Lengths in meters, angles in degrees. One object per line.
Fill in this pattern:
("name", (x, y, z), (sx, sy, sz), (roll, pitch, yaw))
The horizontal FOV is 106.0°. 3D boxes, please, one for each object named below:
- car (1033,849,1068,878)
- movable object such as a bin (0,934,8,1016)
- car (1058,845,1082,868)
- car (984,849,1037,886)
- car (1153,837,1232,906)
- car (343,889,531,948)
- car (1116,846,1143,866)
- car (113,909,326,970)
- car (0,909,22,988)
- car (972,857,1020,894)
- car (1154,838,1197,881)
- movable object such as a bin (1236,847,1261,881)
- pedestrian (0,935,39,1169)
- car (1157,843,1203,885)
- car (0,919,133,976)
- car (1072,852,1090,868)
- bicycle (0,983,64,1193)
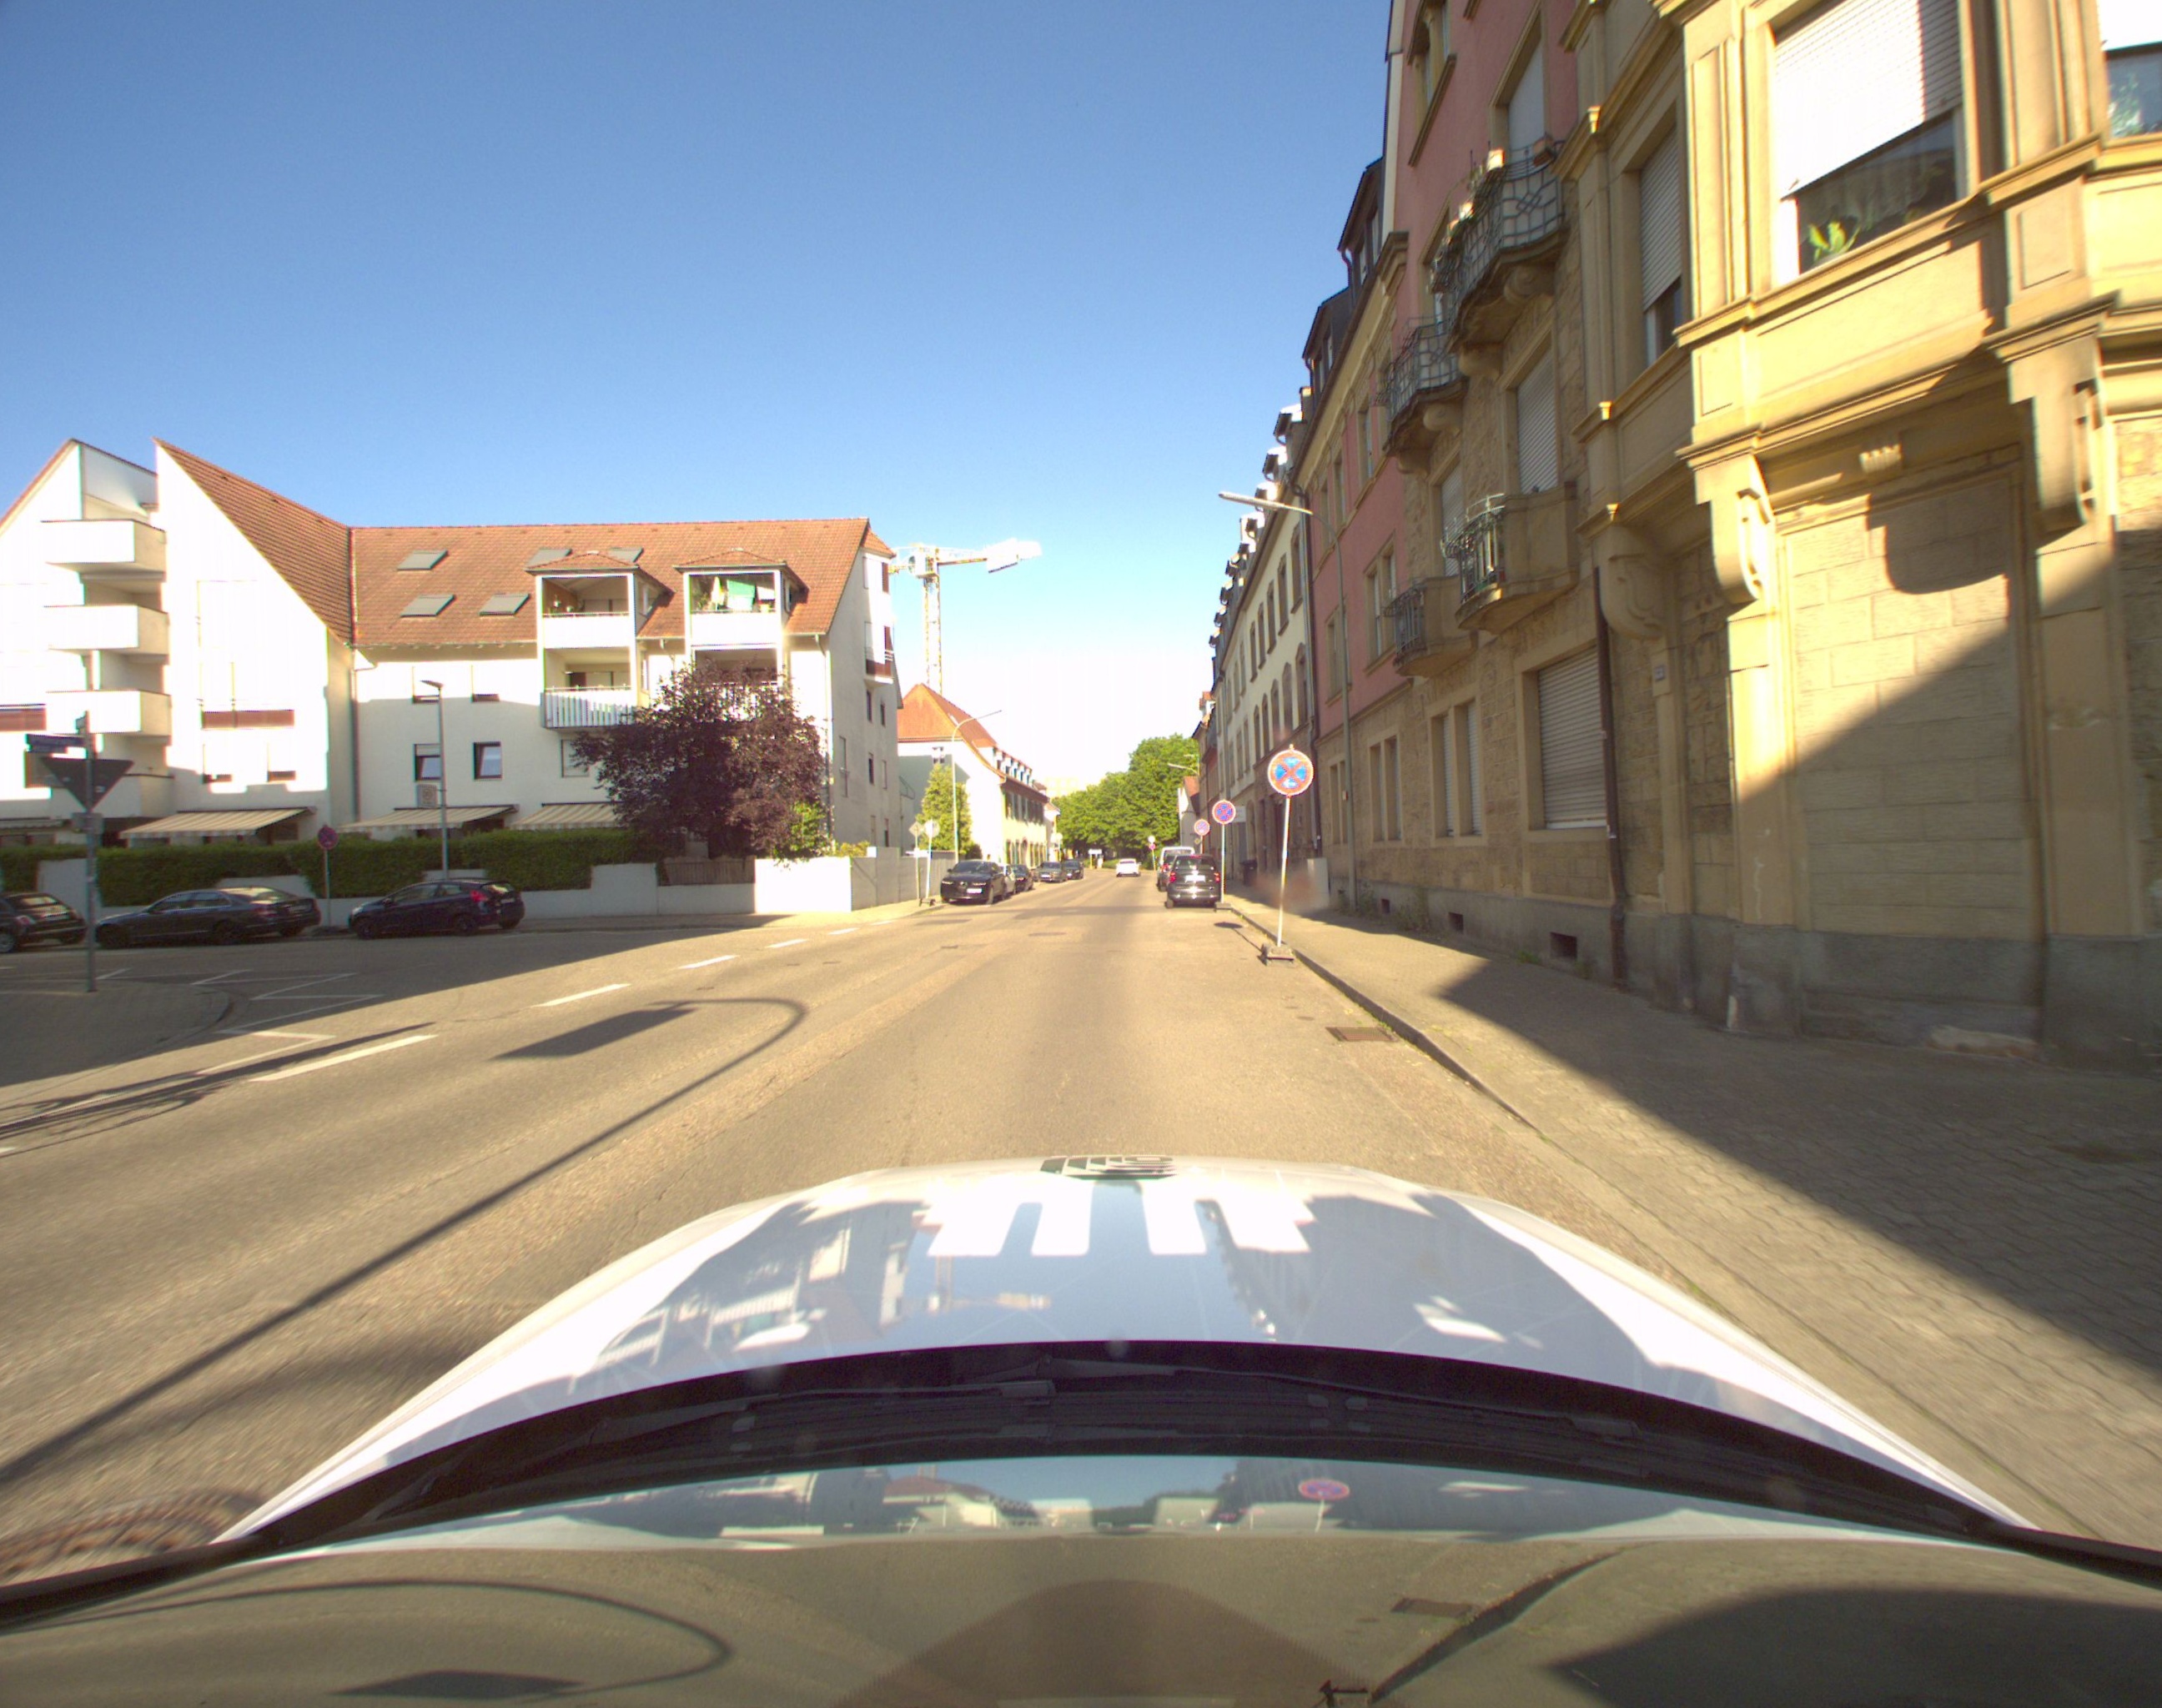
("car", (-2.070, 0.648, 56.361), (1.902, 1.759, 4.132), (-3, 1, 3))
("movable object such as a bin", (-16.146, 1.774, 11.311), (1.215, 1.164, 0.892), (-3, 1, -1))
("car", (-0.888, 0.176, 65.174), (1.624, 1.630, 3.177), (-3, 1, 3))
("car", (-3.570, 0.643, 42.058), (2.084, 1.630, 3.825), (-3, 1, 3))
("car", (3.233, 0.442, 24.310), (2.002, 1.852, 4.004), (-1, 1, 3))
("car", (-16.710, 1.644, 21.248), (3.529, 1.181, 1.616), (-3, 1, 0))
("car", (3.767, 0.165, 64.155), (1.986, 1.466, 4.002), (-2, 0, 2))
("car", (-22.354, 2.201, 21.243), (3.662, 1.181, 1.677), (-3, 1, 0))
("car", (-22.872, 1.893, 15.030), (3.921, 1.508, 1.905), (-2, -1, -4))
("car", (-3.749, 0.924, 36.271), (1.547, 1.457, 3.064), (-3, 1, 3))
("car", (4.652, 0.228, 40.556), (1.833, 1.905, 4.004), (-3, 1, 3))
("movable object such as a bin", (7.173, 0.404, 34.834), (0.868, 1.377, 0.685), (-4, 1, 2))
("pedestrian", (-7.219, 1.289, 5.095), (0.555, 1.472, 0.601), (-2, 0, 0))
("car", (4.341, 0.388, 35.890), (1.809, 1.630, 4.008), (-3, 1, 7))
("car", (-27.399, 2.472, 21.109), (3.662, 1.181, 1.604), (-3, 1, 0))
("car", (-0.002, 0.807, 110.374), (1.991, 2.013, 3.992), (-2, 0, -6))
("bicycle", (-7.240, 1.430, 4.811), (1.778, 1.184, 0.600), (-2, 0, 4))
